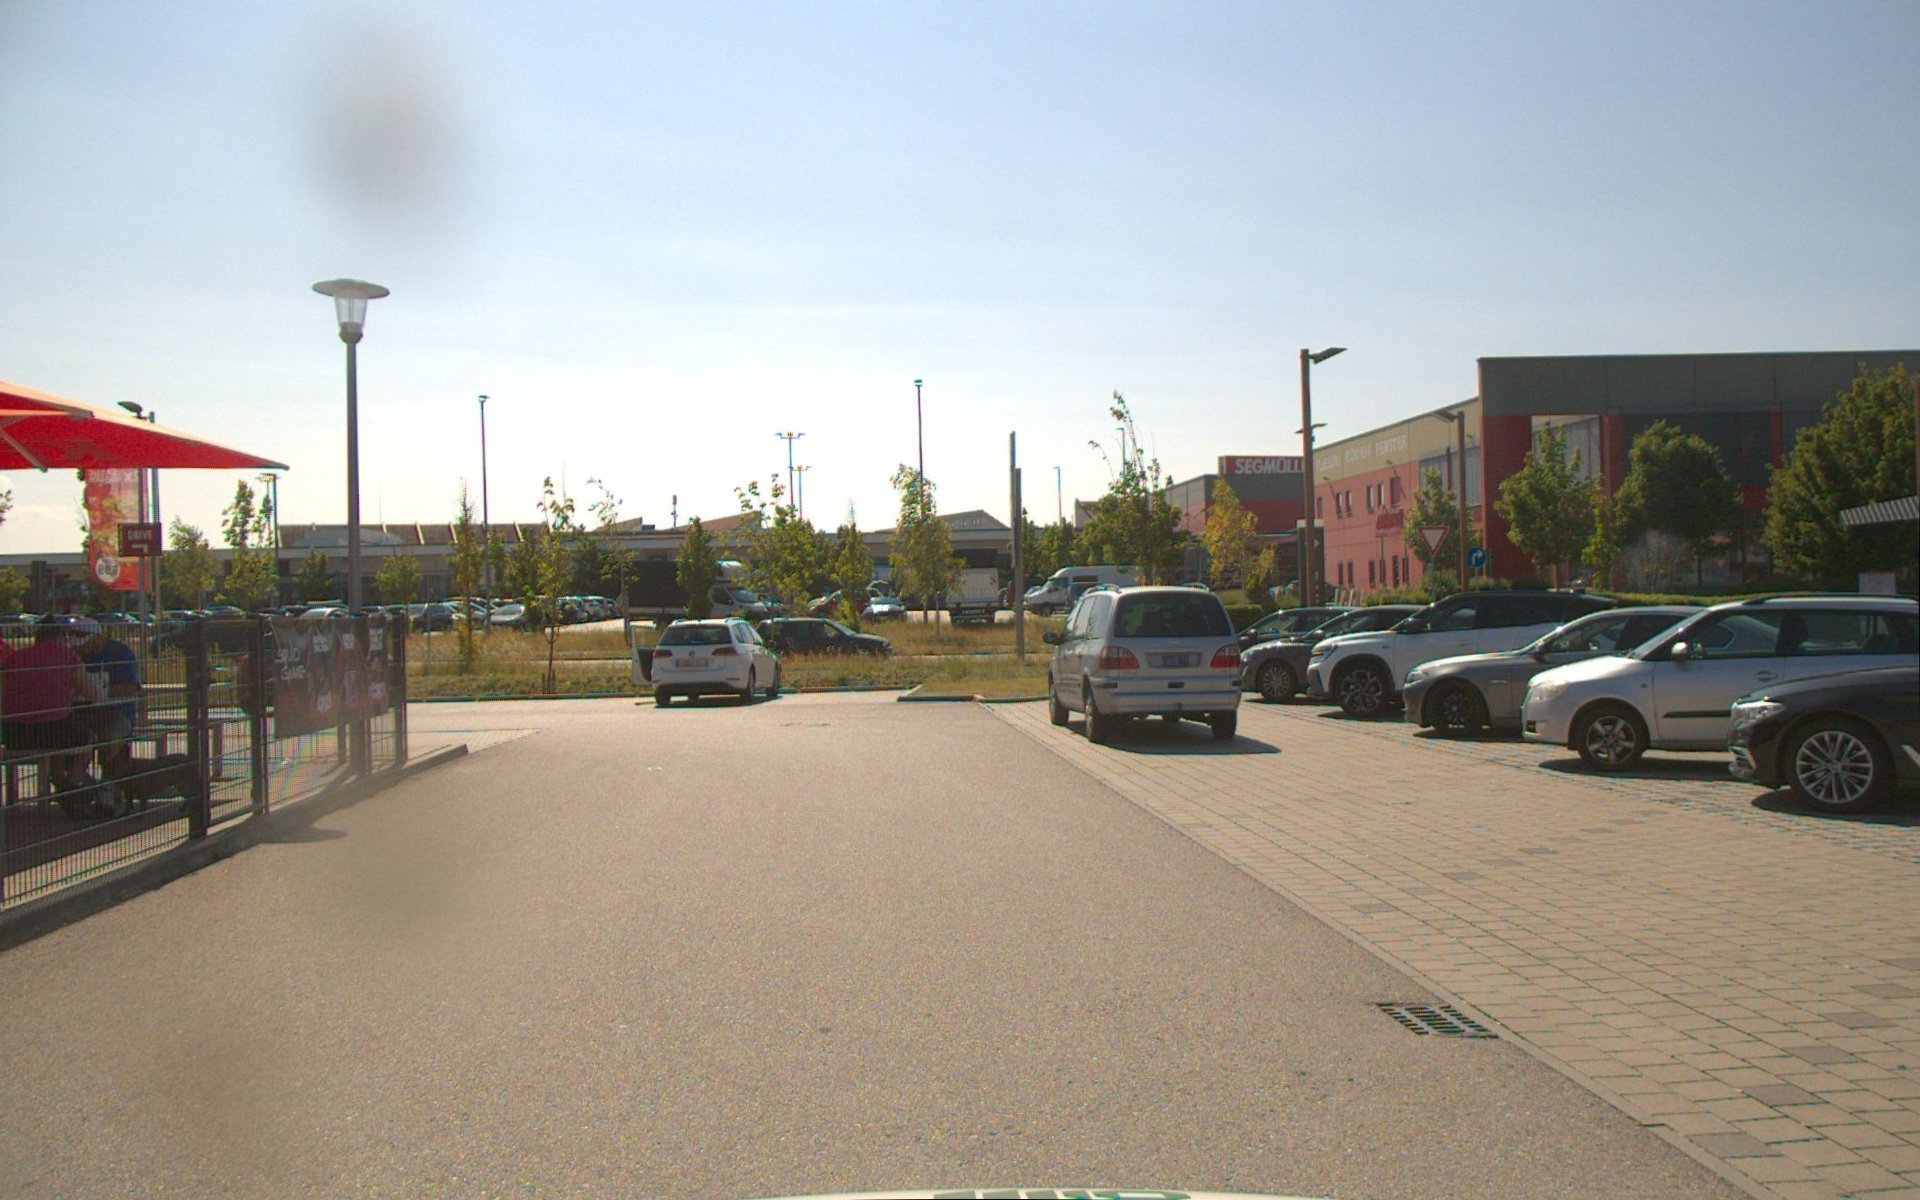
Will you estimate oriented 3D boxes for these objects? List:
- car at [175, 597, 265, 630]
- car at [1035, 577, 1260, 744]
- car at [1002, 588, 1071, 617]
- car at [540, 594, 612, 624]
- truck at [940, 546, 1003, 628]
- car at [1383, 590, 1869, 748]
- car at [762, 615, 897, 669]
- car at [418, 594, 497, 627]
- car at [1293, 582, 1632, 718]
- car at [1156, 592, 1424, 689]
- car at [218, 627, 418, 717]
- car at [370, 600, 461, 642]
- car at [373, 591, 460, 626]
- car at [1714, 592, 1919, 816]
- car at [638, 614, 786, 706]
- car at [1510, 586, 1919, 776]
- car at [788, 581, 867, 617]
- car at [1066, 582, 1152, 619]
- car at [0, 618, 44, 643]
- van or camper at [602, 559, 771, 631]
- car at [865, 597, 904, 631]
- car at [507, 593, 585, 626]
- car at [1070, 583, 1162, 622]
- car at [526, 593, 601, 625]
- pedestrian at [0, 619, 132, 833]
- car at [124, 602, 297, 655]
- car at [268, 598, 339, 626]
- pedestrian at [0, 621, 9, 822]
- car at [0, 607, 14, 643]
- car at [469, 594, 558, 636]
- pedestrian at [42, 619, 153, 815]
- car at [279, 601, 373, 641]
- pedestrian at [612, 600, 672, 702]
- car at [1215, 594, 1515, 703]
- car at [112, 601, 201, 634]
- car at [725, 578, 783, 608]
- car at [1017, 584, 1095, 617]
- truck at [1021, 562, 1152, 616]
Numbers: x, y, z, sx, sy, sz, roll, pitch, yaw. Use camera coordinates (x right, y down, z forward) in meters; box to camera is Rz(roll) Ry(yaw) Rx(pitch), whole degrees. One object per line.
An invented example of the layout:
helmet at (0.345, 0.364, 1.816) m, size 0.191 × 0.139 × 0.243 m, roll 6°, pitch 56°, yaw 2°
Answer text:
car at (-44.111, 0.812, 98.659) m, size 4.470 × 1.888 × 1.953 m, roll -1°, pitch 0°, yaw -6°
car at (2.170, 0.672, 20.480) m, size 1.792 × 1.779 × 4.677 m, roll -1°, pitch 0°, yaw -6°
car at (5.082, 0.166, 110.234) m, size 4.305 × 1.888 × 1.953 m, roll -1°, pitch 0°, yaw -6°
car at (-25.207, 0.566, 108.658) m, size 4.305 × 1.888 × 1.953 m, roll -1°, pitch 0°, yaw -6°
truck at (0.513, -0.556, 75.728) m, size 2.703 × 3.541 × 6.832 m, roll -1°, pitch 0°, yaw 0°
car at (7.343, 0.705, 18.414) m, size 4.744 × 1.553 × 1.970 m, roll -1°, pitch 0°, yaw 33°
car at (-3.864, 1.236, 49.389) m, size 3.906 × 1.522 × 1.676 m, roll -1°, pitch 0°, yaw -1°
car at (-30.523, 0.633, 100.562) m, size 4.305 × 1.888 × 1.953 m, roll -1°, pitch 0°, yaw -6°
car at (6.754, 0.642, 22.234) m, size 4.110 × 1.683 × 1.974 m, roll -1°, pitch 0°, yaw 25°
car at (5.806, 0.684, 29.338) m, size 4.251 × 1.553 × 1.966 m, roll -1°, pitch 0°, yaw 39°
car at (-11.734, 1.274, 30.554) m, size 1.789 × 1.495 × 4.354 m, roll -2°, pitch -1°, yaw 3°
car at (-25.884, 0.980, 78.783) m, size 1.908 × 1.888 × 4.407 m, roll -1°, pitch 0°, yaw 18°
car at (-30.373, 0.478, 92.512) m, size 4.305 × 1.888 × 1.953 m, roll -1°, pitch 0°, yaw -6°
car at (7.916, 0.689, 11.347) m, size 4.689 × 1.512 × 1.967 m, roll -1°, pitch 0°, yaw 37°
car at (-4.409, 1.060, 30.027) m, size 1.789 × 1.495 × 4.483 m, roll -1°, pitch -1°, yaw 2°
car at (7.234, 0.674, 14.941) m, size 4.109 × 1.553 × 1.974 m, roll -1°, pitch 0°, yaw 24°
car at (-7.102, -0.063, 88.709) m, size 4.171 × 1.888 × 1.868 m, roll -1°, pitch 0°, yaw -6°
car at (7.912, 0.009, 88.168) m, size 4.305 × 1.888 × 1.953 m, roll -1°, pitch 0°, yaw -6°
car at (-61.771, 1.993, 107.640) m, size 3.402 × 1.579 × 1.662 m, roll -1°, pitch 0°, yaw -11°
van or camper at (-12.668, -0.181, 76.366) m, size 7.875 × 3.156 × 2.416 m, roll -1°, pitch 0°, yaw 28°
car at (-3.462, 0.621, 75.994) m, size 1.616 × 1.485 × 3.966 m, roll -1°, pitch 0°, yaw 0°
car at (-25.107, 0.561, 100.317) m, size 4.305 × 1.888 × 1.953 m, roll -1°, pitch 0°, yaw -6°
car at (7.812, 0.118, 82.987) m, size 4.305 × 1.888 × 1.953 m, roll -1°, pitch 0°, yaw -6°
car at (-24.621, 0.555, 102.818) m, size 4.305 × 1.888 × 1.953 m, roll -1°, pitch 0°, yaw -6°
pedestrian at (-5.753, 0.775, 10.635) m, size 0.673 × 1.296 × 0.836 m, roll -1°, pitch 0°, yaw -22°
car at (-26.192, 0.988, 57.943) m, size 5.101 × 1.761 × 1.988 m, roll -1°, pitch 0°, yaw -2°
car at (-47.206, 0.861, 119.020) m, size 4.305 × 1.888 × 1.953 m, roll -1°, pitch 0°, yaw -6°
pedestrian at (-6.547, 0.791, 10.622) m, size 0.674 × 1.296 × 0.547 m, roll -1°, pitch 0°, yaw -22°
car at (-52.071, 1.356, 86.305) m, size 1.951 × 1.878 × 4.736 m, roll -1°, pitch 0°, yaw 15°
car at (-20.829, 0.684, 77.297) m, size 1.908 × 1.888 × 4.407 m, roll -1°, pitch 0°, yaw 18°
pedestrian at (-5.949, 0.783, 11.439) m, size 0.603 × 1.296 × 0.620 m, roll -1°, pitch 0°, yaw -22°
car at (-30.710, 0.997, 80.240) m, size 1.952 × 1.888 × 4.288 m, roll -1°, pitch 0°, yaw 18°
pedestrian at (-5.892, 0.944, 30.678) m, size 0.971 × 1.841 × 0.725 m, roll -1°, pitch -1°, yaw -2°
car at (6.258, 0.720, 25.655) m, size 4.117 × 1.553 × 1.971 m, roll -1°, pitch 0°, yaw 32°
car at (-52.861, 1.129, 108.831) m, size 4.826 × 2.049 × 2.077 m, roll -1°, pitch 0°, yaw -10°
car at (-14.679, -0.497, 117.836) m, size 3.907 × 2.049 × 1.999 m, roll -1°, pitch 0°, yaw -3°
car at (5.632, 0.043, 97.324) m, size 4.305 × 1.888 × 1.953 m, roll -1°, pitch 0°, yaw -6°
truck at (6.922, -0.614, 90.858) m, size 6.899 × 2.864 × 1.953 m, roll -1°, pitch 0°, yaw -6°
